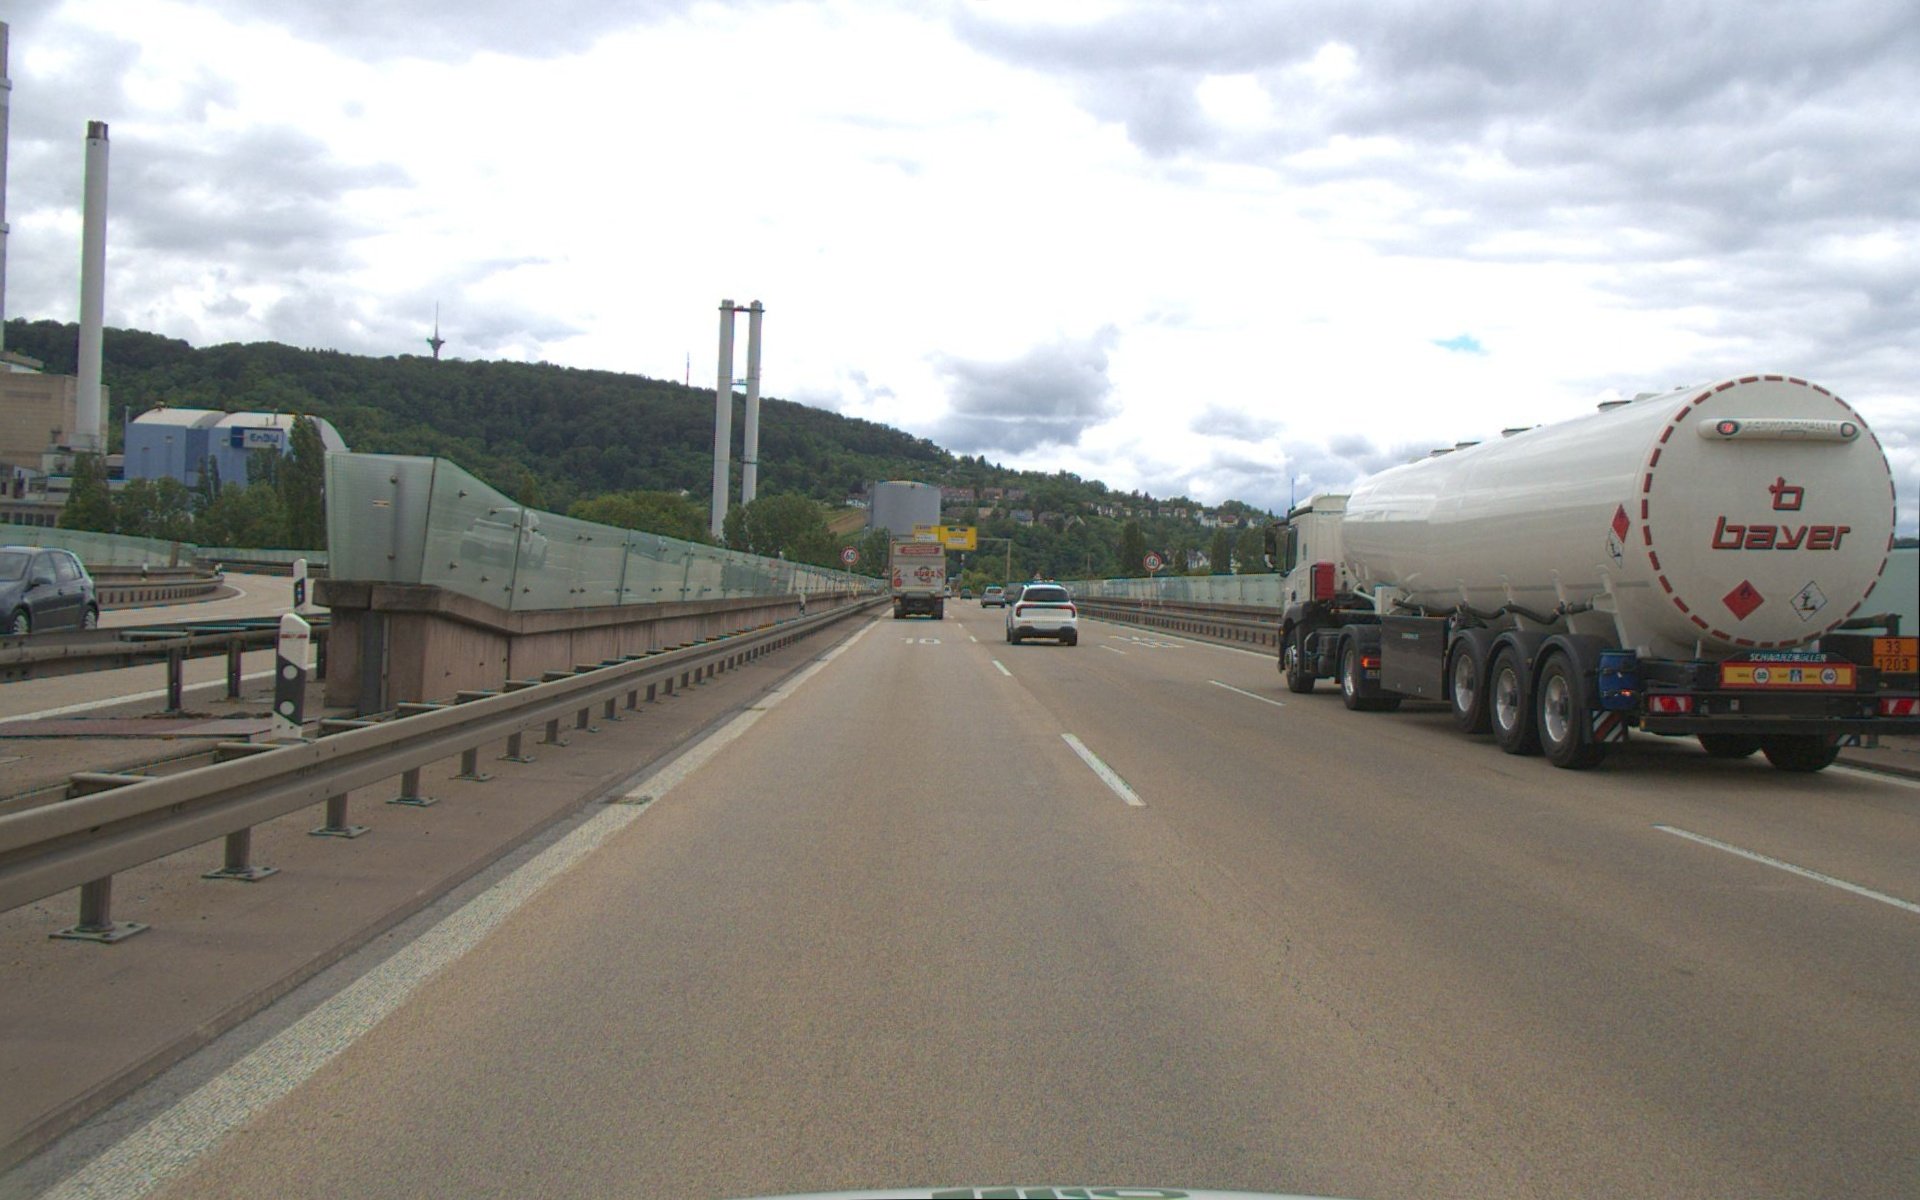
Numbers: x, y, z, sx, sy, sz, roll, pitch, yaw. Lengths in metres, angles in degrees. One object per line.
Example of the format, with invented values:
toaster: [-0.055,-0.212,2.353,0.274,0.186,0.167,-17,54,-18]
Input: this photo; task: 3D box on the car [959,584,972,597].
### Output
car: [0.809,-1.385,240.258,1.885,1.816,4.112,1,1,-1]

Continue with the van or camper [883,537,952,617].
van or camper: [-1.995,-1.056,80.929,3.058,3.641,8.549,1,0,0]

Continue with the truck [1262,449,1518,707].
truck: [6.491,-0.319,25.705,2.577,3.575,4.903,1,0,-1]

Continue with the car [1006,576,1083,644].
car: [2.370,0.244,47.214,1.885,1.816,4.112,1,1,-1]

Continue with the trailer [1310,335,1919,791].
trailer: [6.600,-0.303,18.892,2.596,3.605,11.218,1,0,-1]

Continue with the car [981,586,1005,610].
car: [2.703,-0.173,134.833,1.884,1.816,4.114,1,1,1]

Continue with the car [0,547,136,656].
car: [-13.814,-0.025,24.082,1.726,1.456,4.392,1,1,-5]
